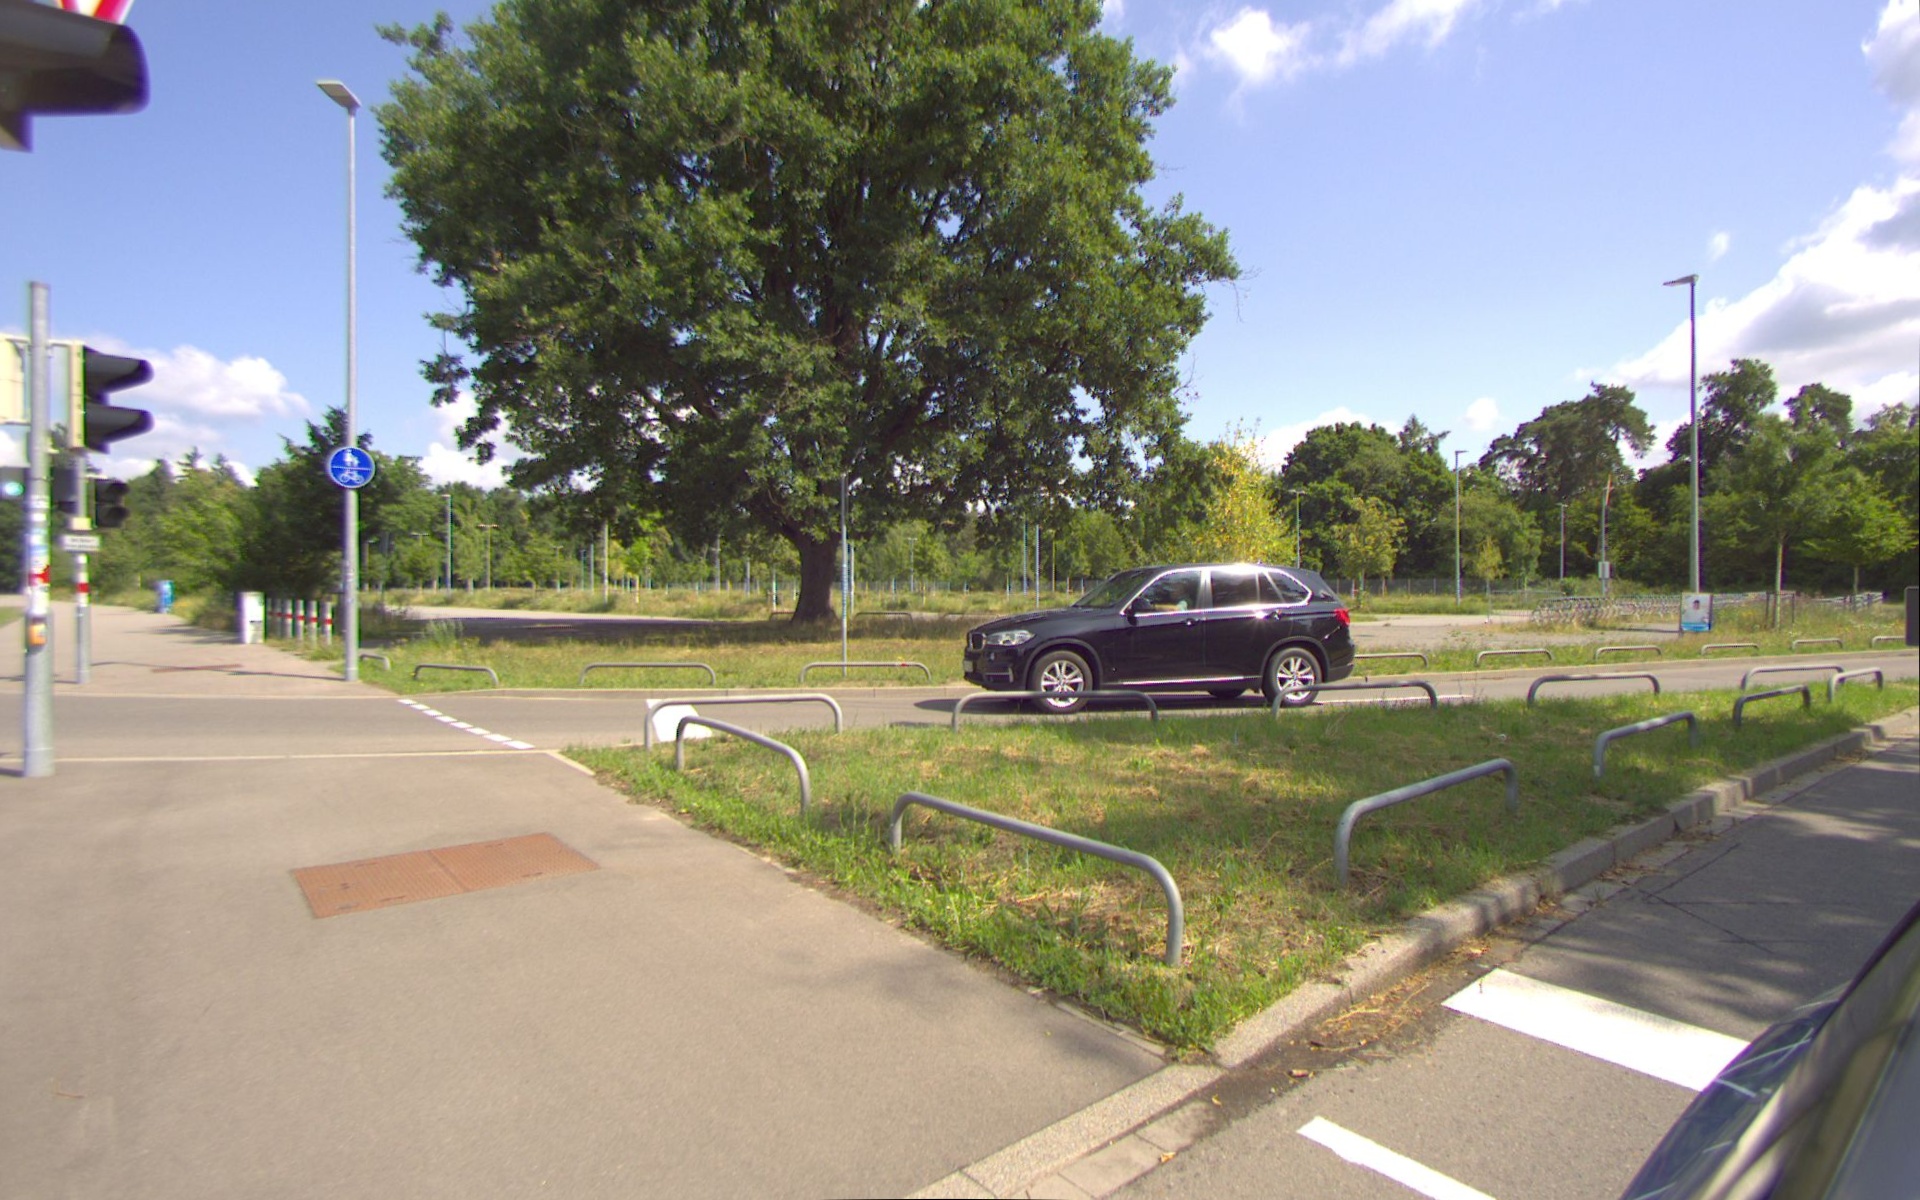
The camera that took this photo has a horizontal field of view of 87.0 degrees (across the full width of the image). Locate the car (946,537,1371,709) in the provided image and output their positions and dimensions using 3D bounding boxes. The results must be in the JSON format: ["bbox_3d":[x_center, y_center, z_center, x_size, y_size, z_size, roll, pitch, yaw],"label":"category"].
[{"bbox_3d":[2.322,0.259,12.376,4.609,1.788,1.984,-2,-2,-13],"label":"car"}]
